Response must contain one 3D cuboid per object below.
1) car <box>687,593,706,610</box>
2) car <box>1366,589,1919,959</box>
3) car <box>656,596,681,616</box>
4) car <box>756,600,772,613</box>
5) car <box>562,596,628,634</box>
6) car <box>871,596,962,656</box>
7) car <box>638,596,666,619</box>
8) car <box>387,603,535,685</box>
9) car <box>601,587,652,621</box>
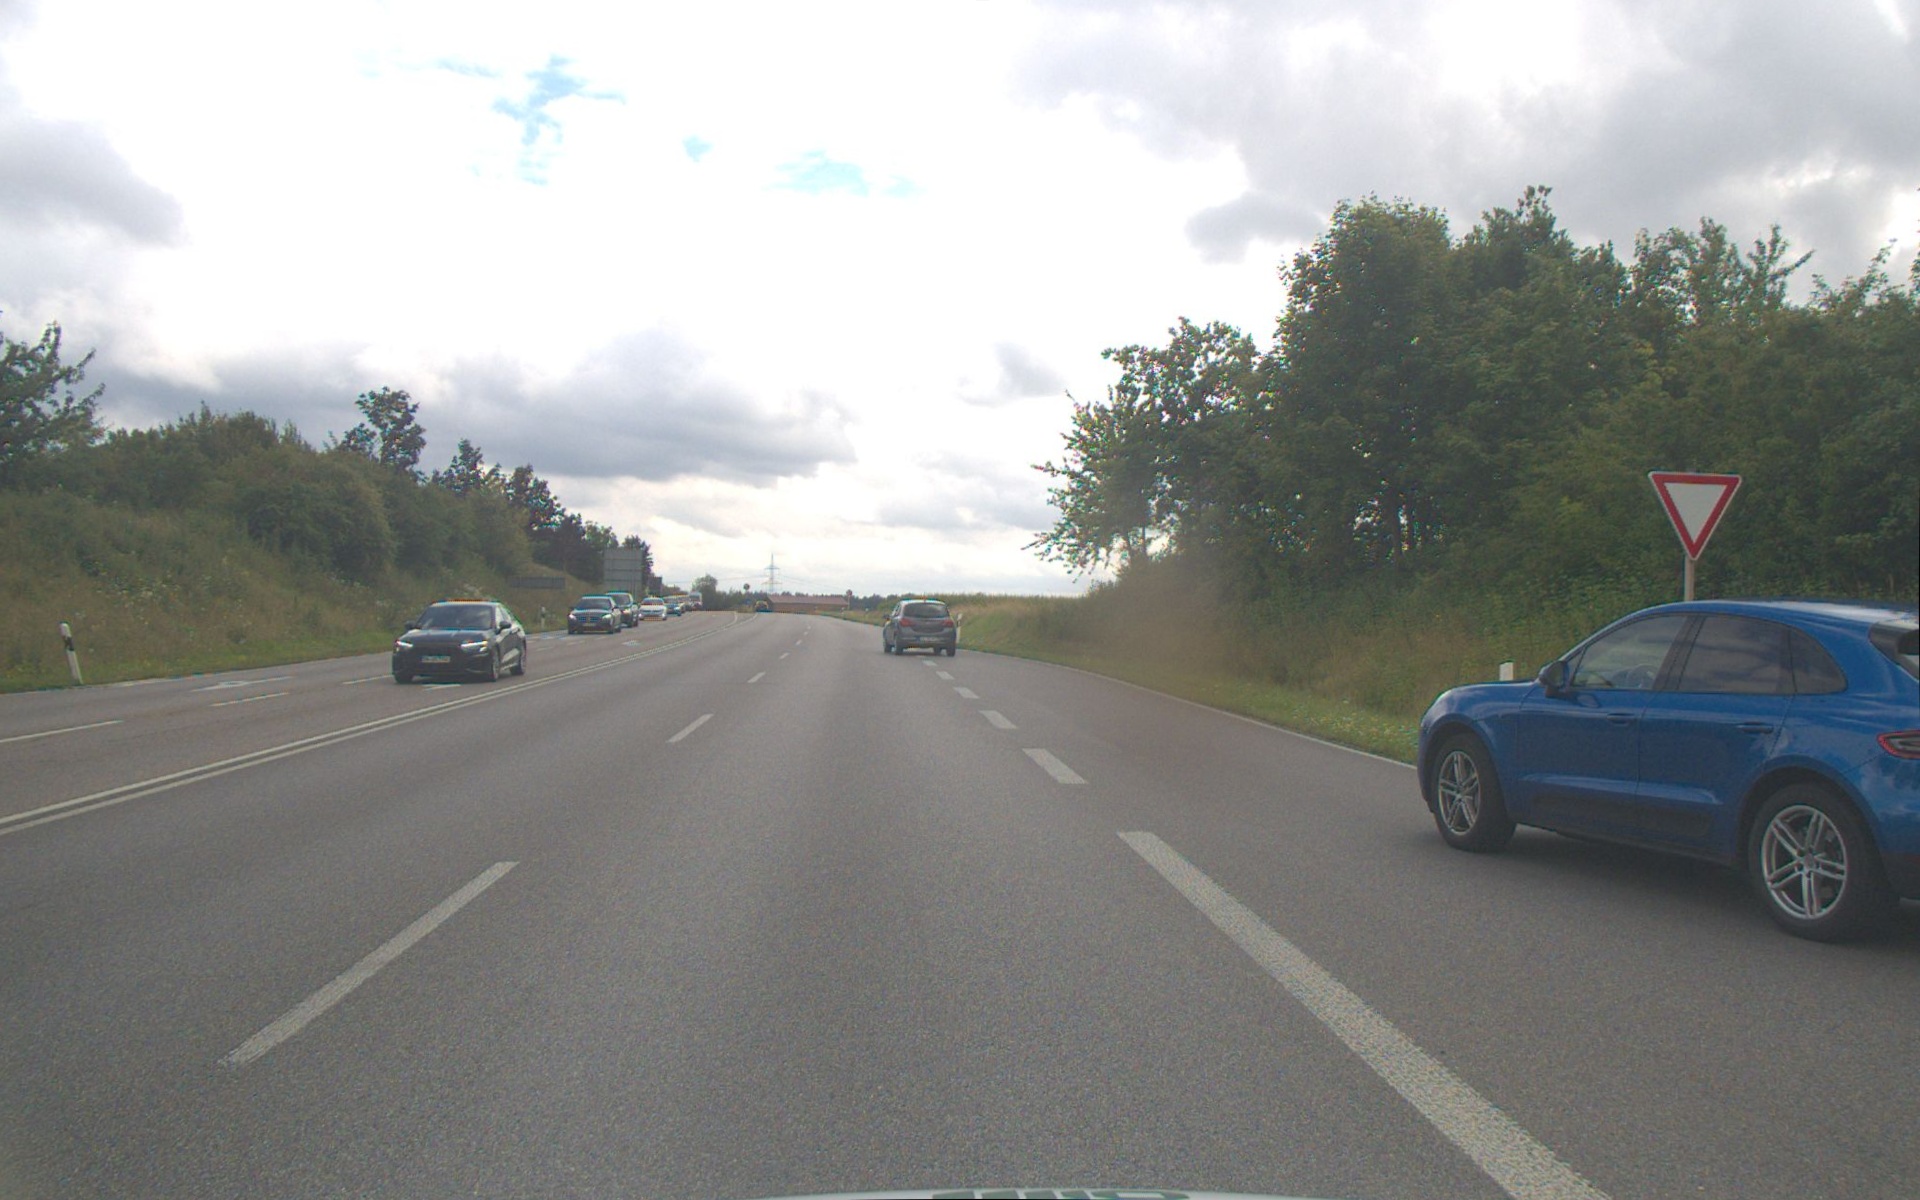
[{"bbox_3d":[-35.254,0.138,221.348,2.319,2.250,5.913,0,0,-7],"label":"car"},{"bbox_3d":[4.459,0.779,9.392,1.963,1.598,4.731,2,-1,-18],"label":"car"},{"bbox_3d":[-22.855,0.458,129.713,1.957,1.534,3.991,0,0,-10],"label":"car"},{"bbox_3d":[-26.907,0.834,227.144,1.955,1.745,3.996,0,0,-5],"label":"car"},{"bbox_3d":[-14.930,0.582,67.930,1.954,1.520,4.988,0,0,-4],"label":"car"},{"bbox_3d":[-1.272,0.697,46.287,1.957,1.562,3.990,1,0,-10],"label":"car"},{"bbox_3d":[-20.163,0.485,108.498,1.637,1.467,4.138,0,0,-8],"label":"car"},{"bbox_3d":[-9.222,0.763,30.916,1.731,1.407,4.539,0,0,-5],"label":"car"},{"bbox_3d":[-16.742,0.199,83.125,1.955,1.639,4.987,0,0,-5],"label":"car"}]
